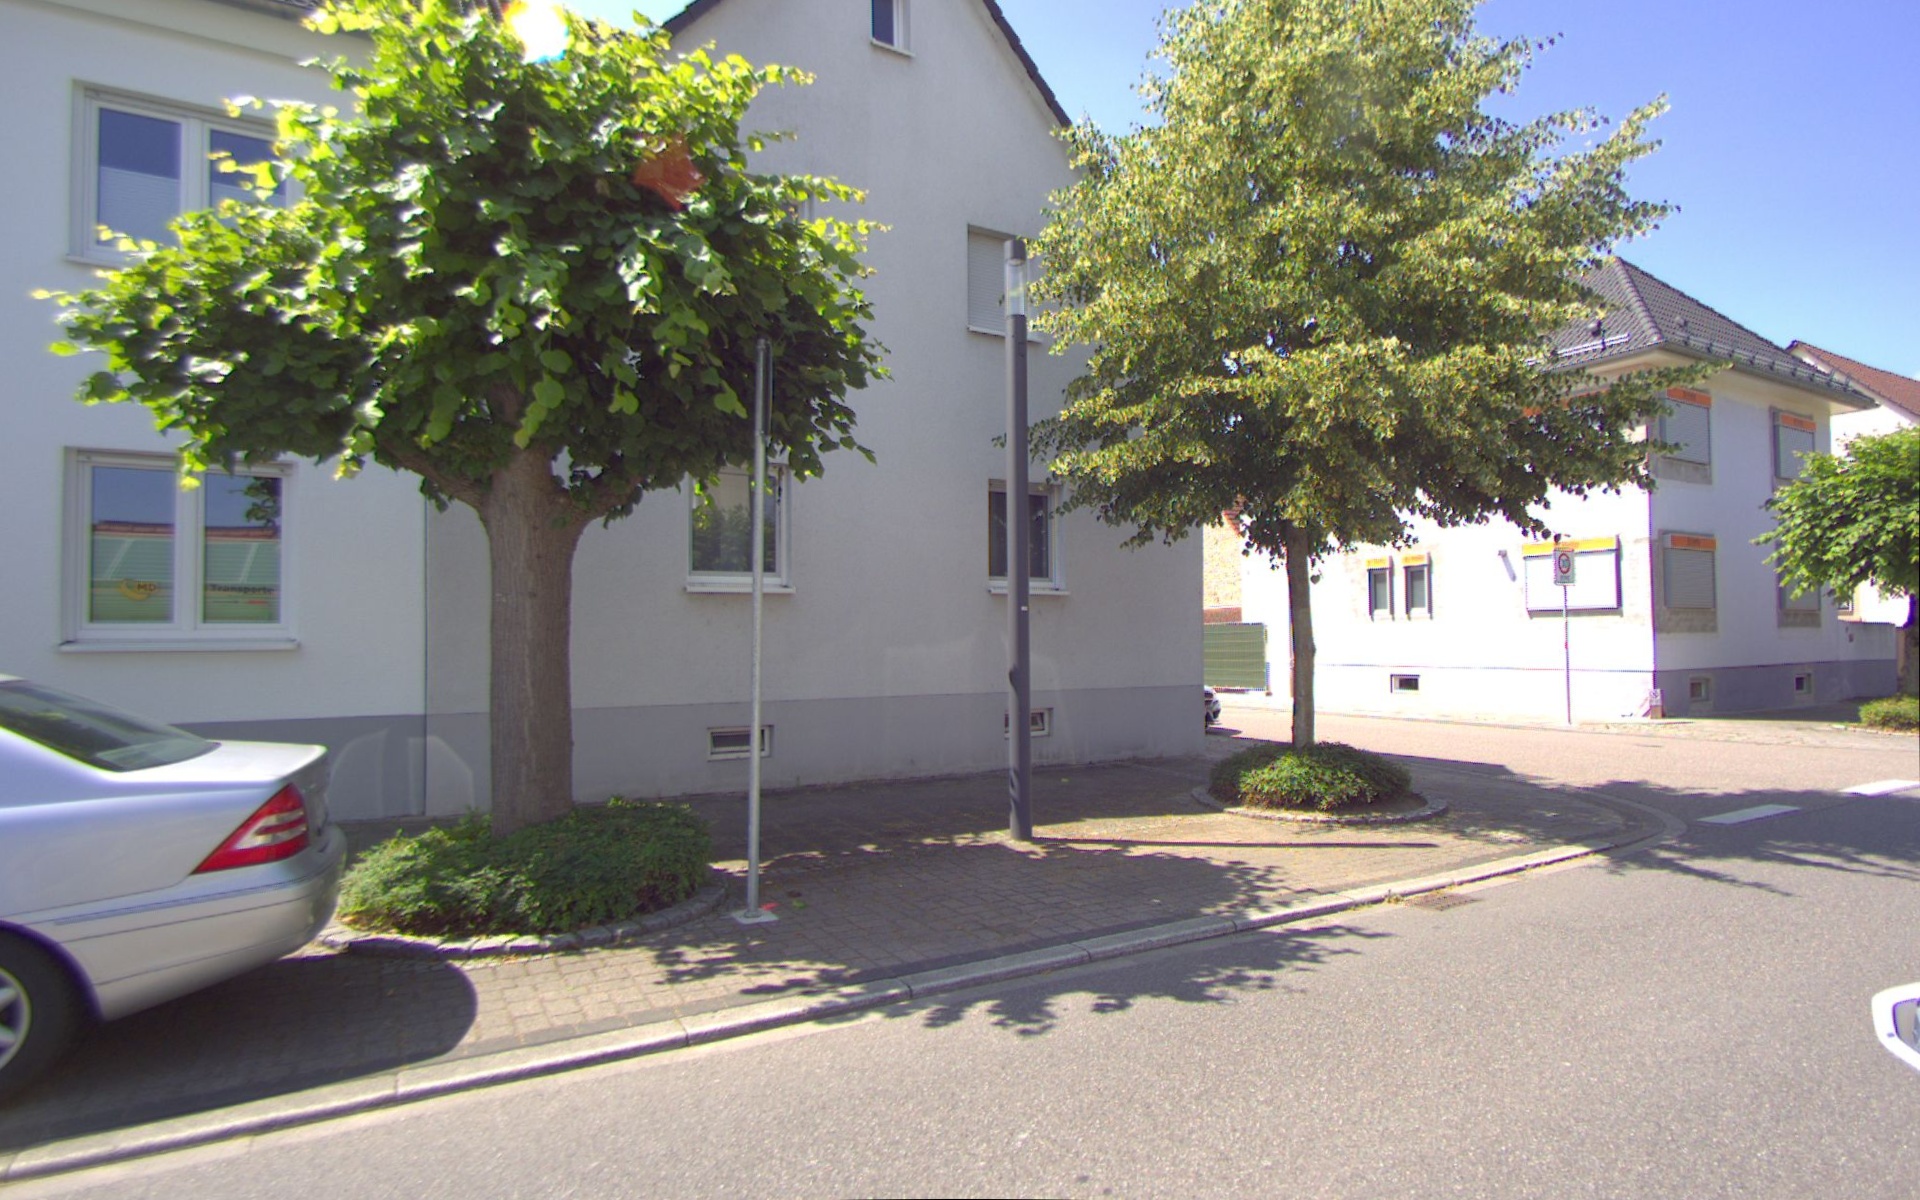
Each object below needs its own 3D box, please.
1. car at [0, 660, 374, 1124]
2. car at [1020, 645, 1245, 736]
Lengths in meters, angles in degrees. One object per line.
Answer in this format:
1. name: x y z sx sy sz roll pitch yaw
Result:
1. car: -4.507 0.957 3.382 4.356 1.414 1.832 1 -2 -31
2. car: 3.038 1.609 18.629 1.974 1.467 4.323 3 -4 -26
